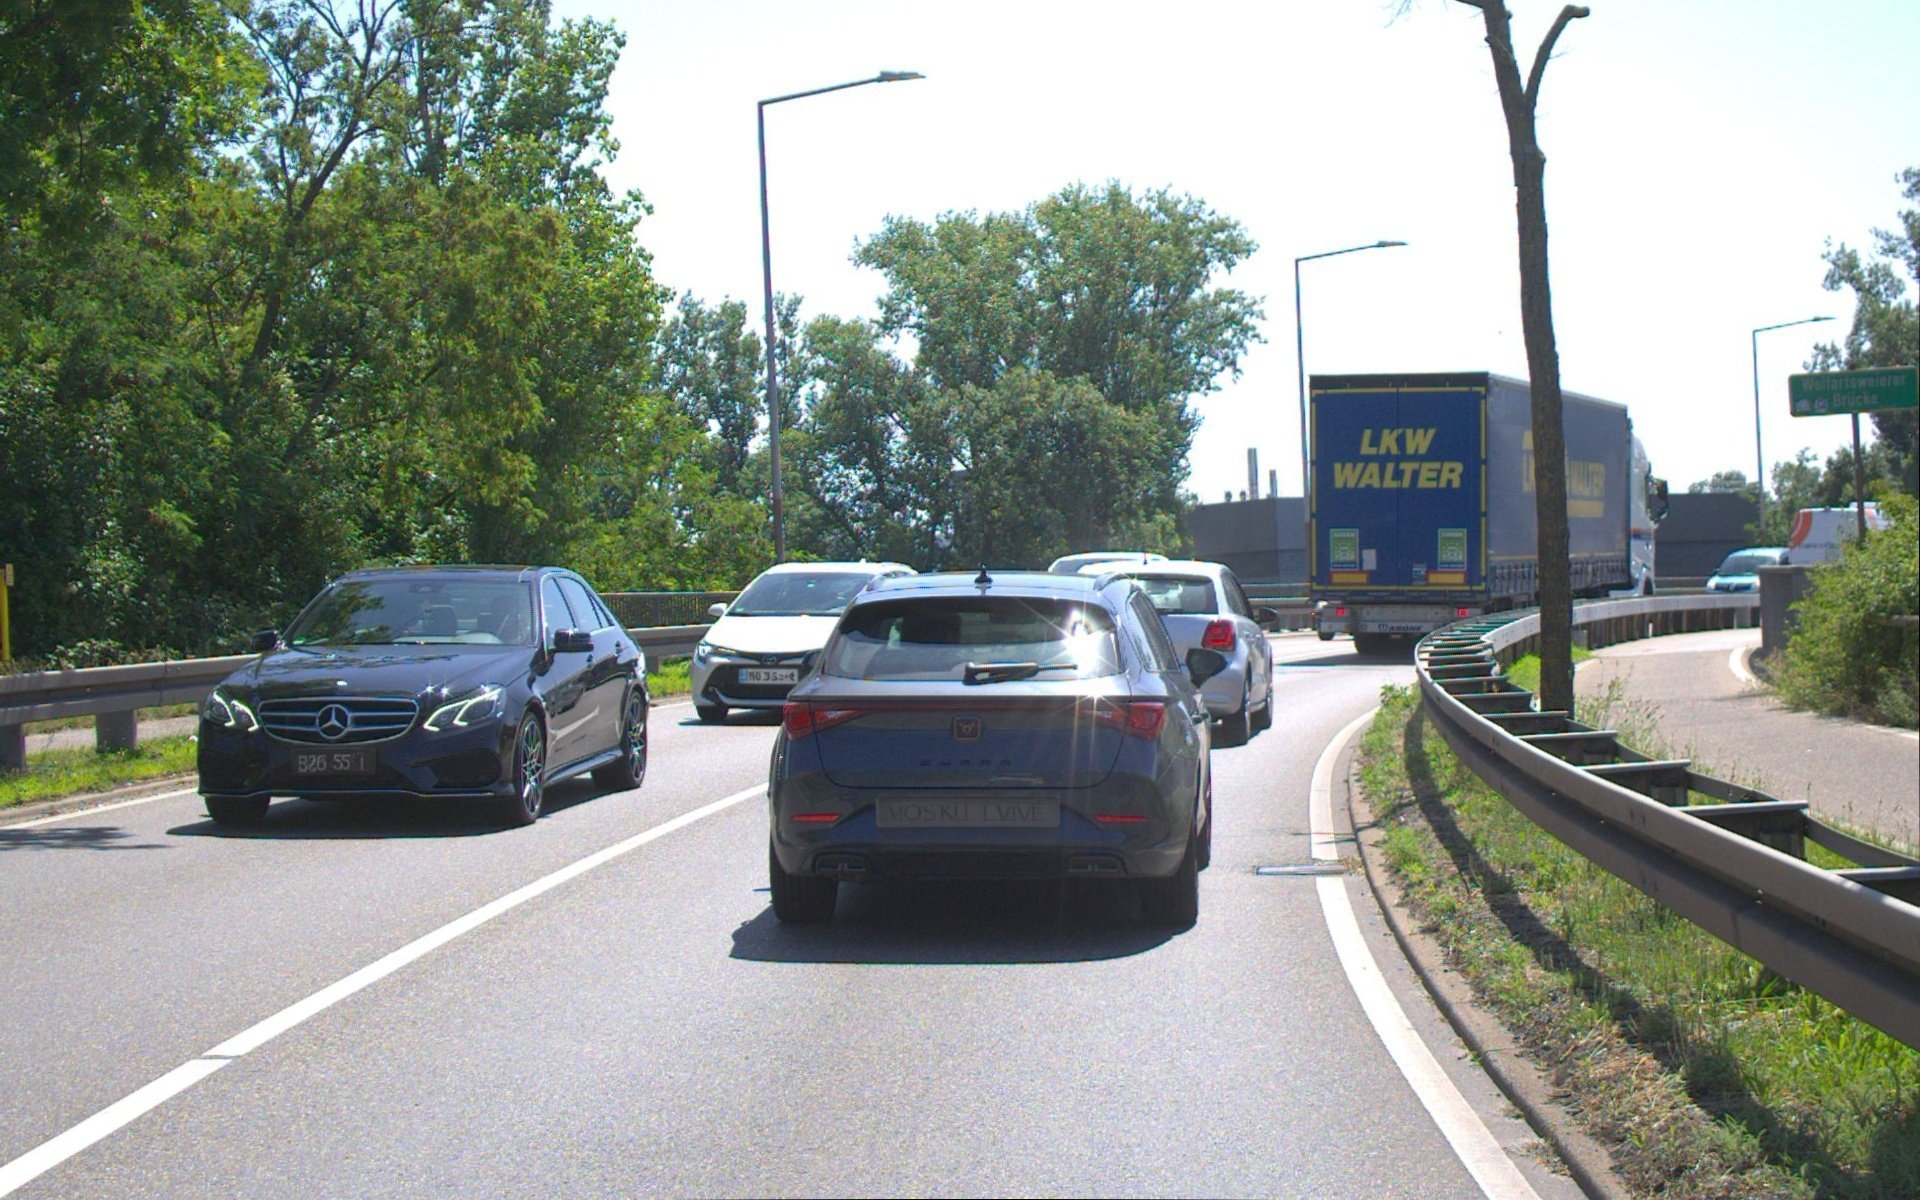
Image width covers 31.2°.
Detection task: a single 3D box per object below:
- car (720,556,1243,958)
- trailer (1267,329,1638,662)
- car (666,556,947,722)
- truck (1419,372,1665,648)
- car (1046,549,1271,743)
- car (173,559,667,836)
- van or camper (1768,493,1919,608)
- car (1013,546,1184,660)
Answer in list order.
[{"bbox_3d":[0.228,0.568,14.840,1.846,1.493,3.757,0,1,7],"label":"car"},{"bbox_3d":[8.063,-1.518,54.178,3.137,4.598,12.935,1,1,20],"label":"trailer"},{"bbox_3d":[-1.359,0.309,32.331,1.701,1.442,4.458,0,1,10],"label":"car"},{"bbox_3d":[10.421,-1.510,60.913,3.173,4.569,7.390,1,0,18],"label":"truck"},{"bbox_3d":[1.671,0.329,28.004,1.593,1.456,3.544,1,1,7],"label":"car"},{"bbox_3d":[-3.100,0.492,20.758,1.846,1.462,4.740,0,1,5],"label":"car"},{"bbox_3d":[21.659,-1.204,83.555,2.207,2.702,5.915,0,1,31],"label":"van or camper"},{"bbox_3d":[2.012,0.015,48.799,1.747,1.541,4.391,0,1,11],"label":"car"}]
